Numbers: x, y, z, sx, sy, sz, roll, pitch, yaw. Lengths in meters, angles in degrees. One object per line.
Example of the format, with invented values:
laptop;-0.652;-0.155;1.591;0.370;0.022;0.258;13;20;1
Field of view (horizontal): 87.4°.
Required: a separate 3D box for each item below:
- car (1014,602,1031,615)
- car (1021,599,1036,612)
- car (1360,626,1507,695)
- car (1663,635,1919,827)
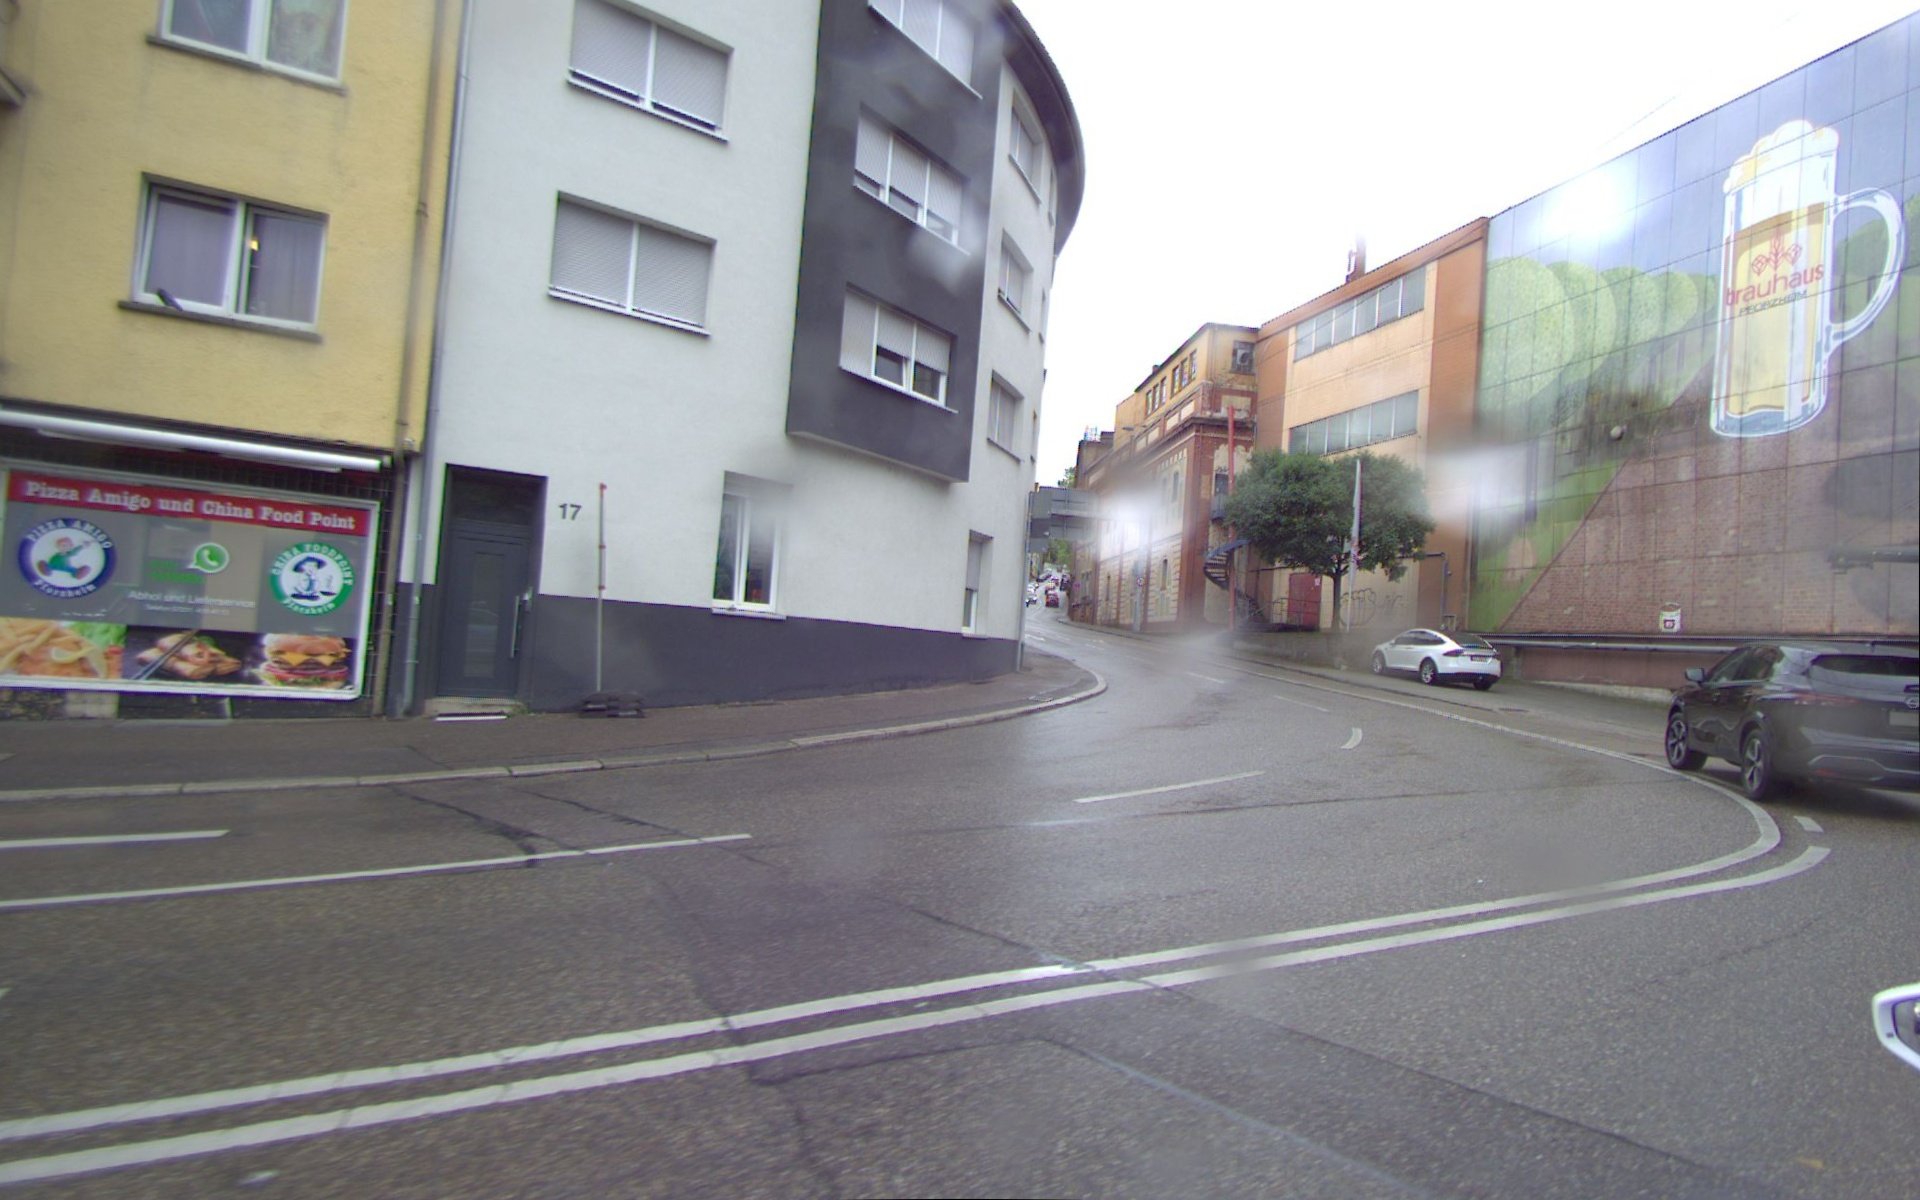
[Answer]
car;8.330;1.172;133.944;1.764;1.530;4.004;4;-2;10
car;9.985;0.781;146.050;1.764;1.530;4.004;4;-2;10
car;14.864;1.848;31.907;1.824;1.639;4.909;4;1;-6
car;9.006;1.245;10.626;1.851;1.615;3.919;2;-2;25
